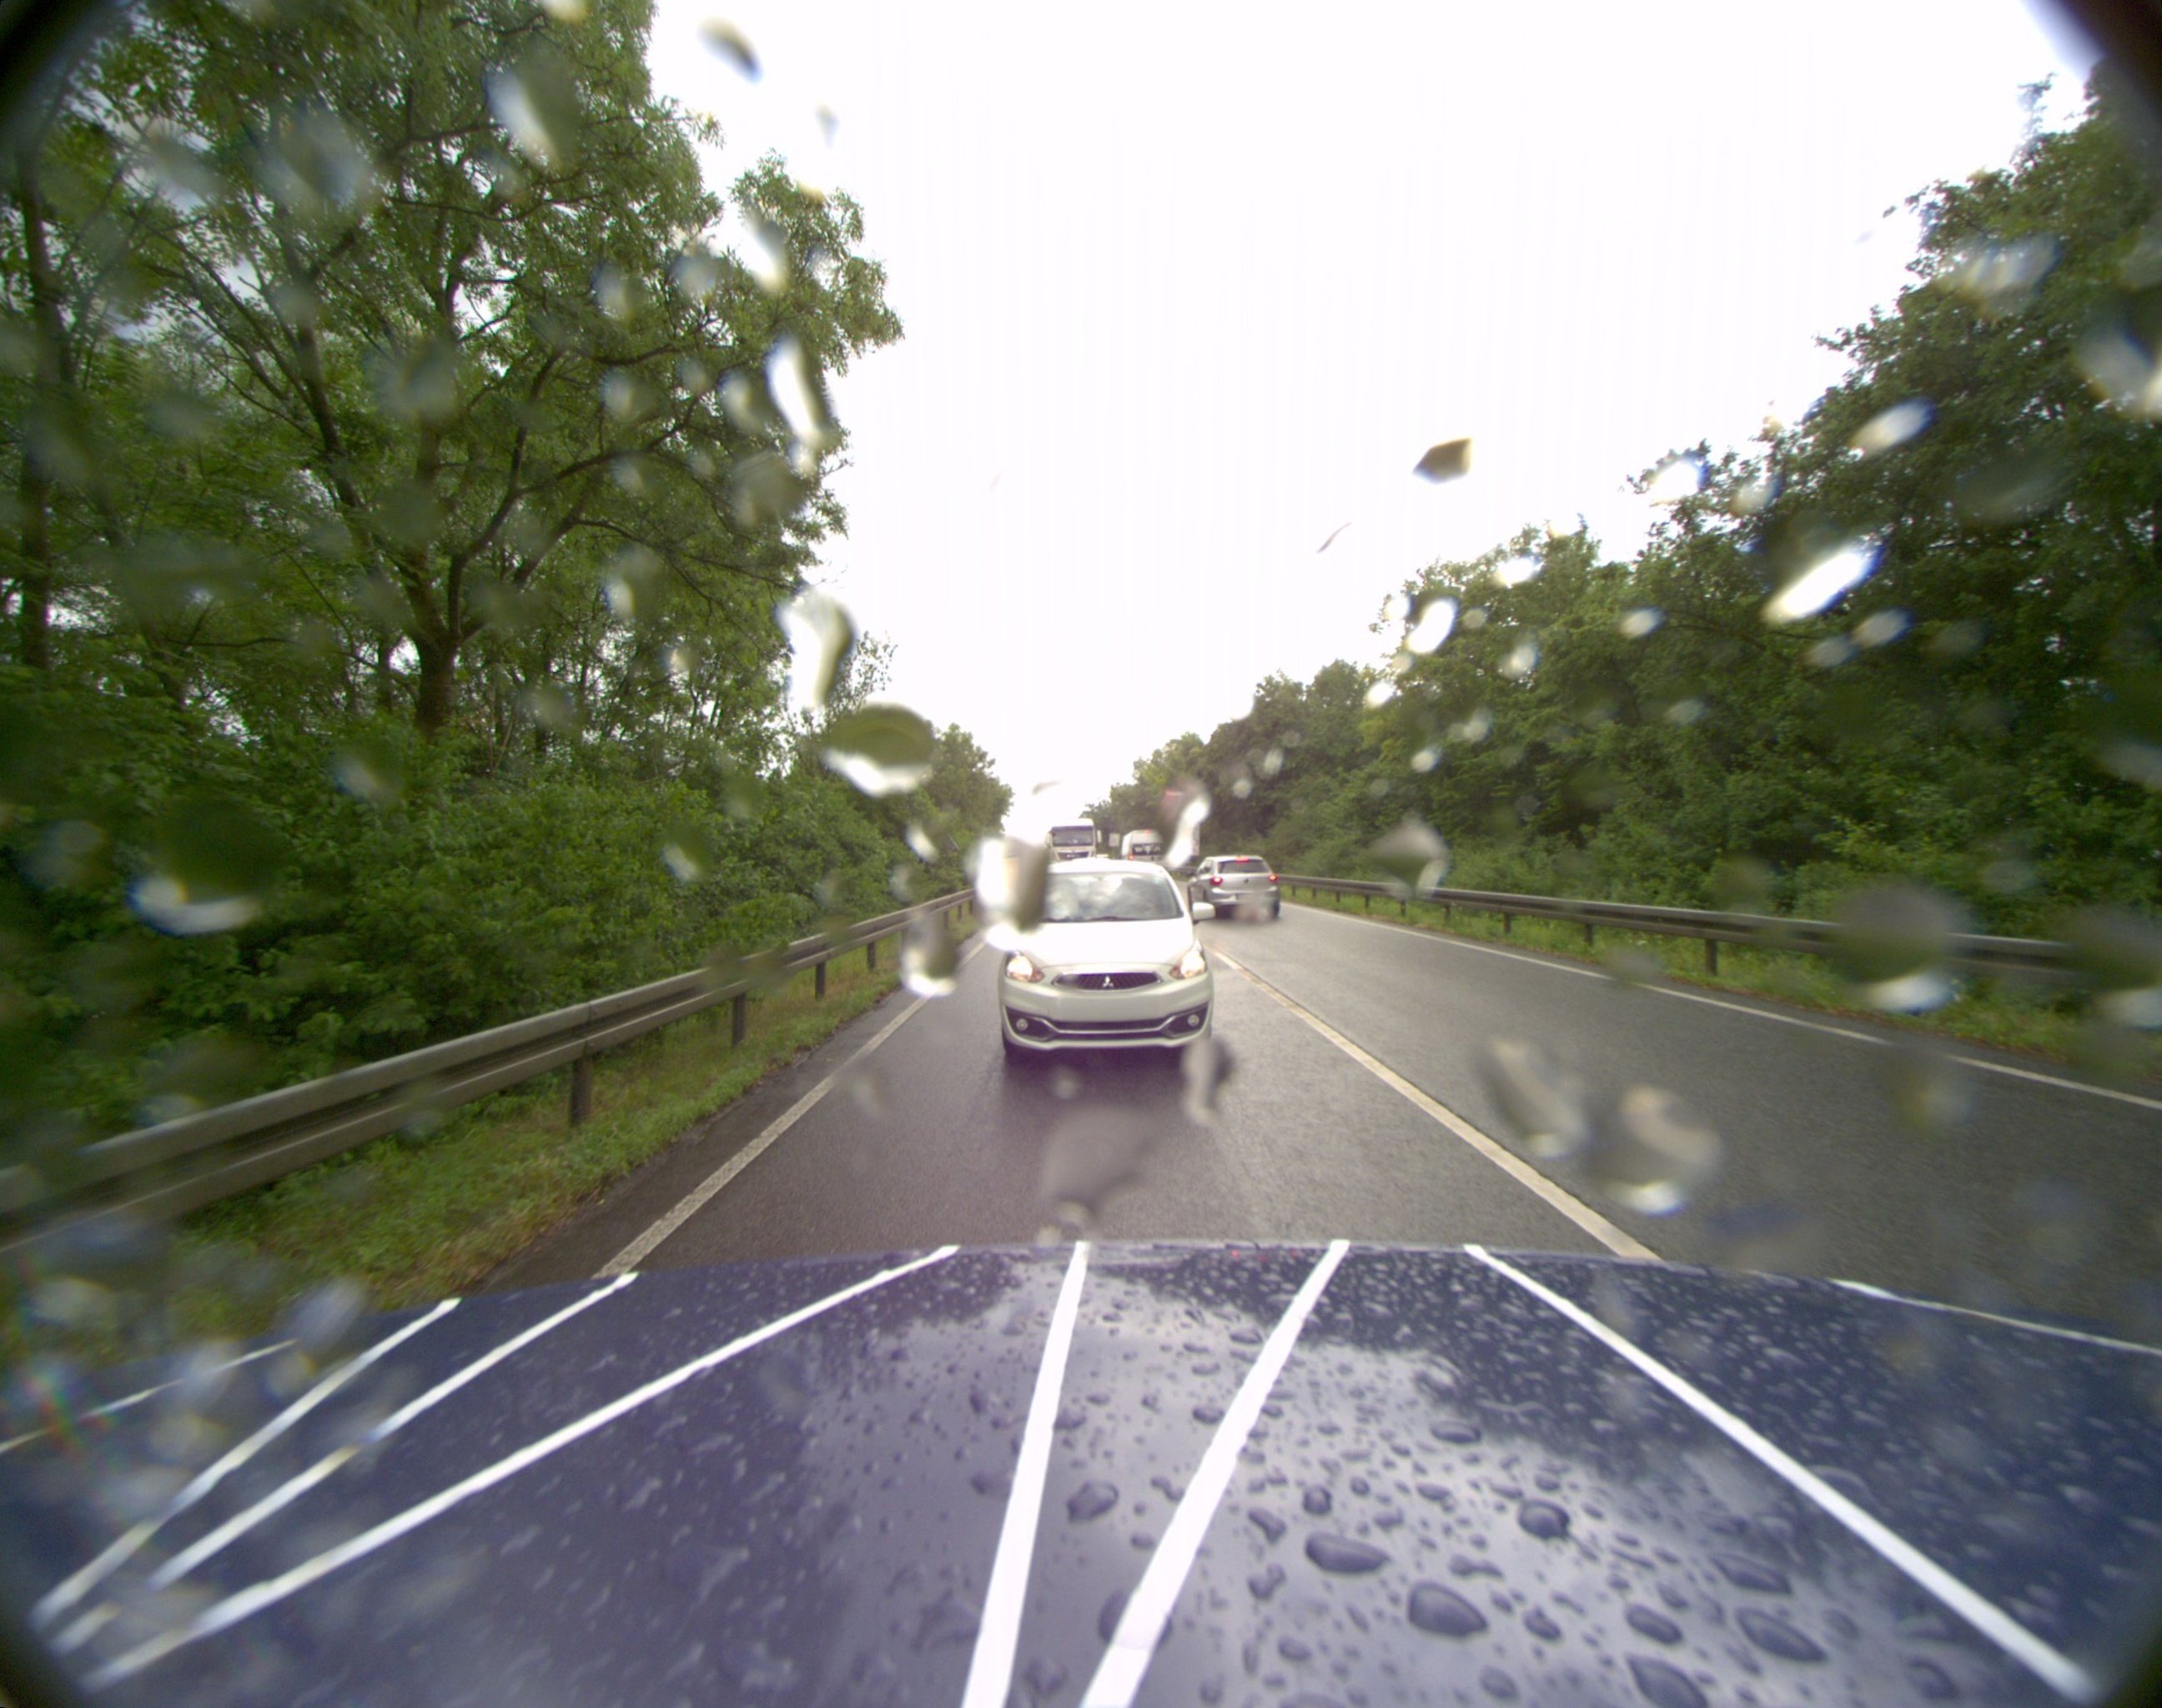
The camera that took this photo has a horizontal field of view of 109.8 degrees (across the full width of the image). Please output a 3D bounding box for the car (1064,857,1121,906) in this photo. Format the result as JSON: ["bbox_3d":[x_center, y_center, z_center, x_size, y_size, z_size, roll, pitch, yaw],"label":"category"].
[{"bbox_3d":[0.299,0.826,24.908,1.640,1.413,4.491,-2,0,-1],"label":"car"}]

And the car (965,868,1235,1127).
[{"bbox_3d":[0.117,0.921,6.780,1.610,1.435,4.208,-2,0,0],"label":"car"}]

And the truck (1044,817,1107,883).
[{"bbox_3d":[-0.434,-0.259,44.421,3.137,3.364,9.280,-2,1,-2],"label":"truck"}]

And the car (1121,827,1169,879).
[{"bbox_3d":[3.541,-0.088,43.060,2.053,2.661,6.170,-2,1,-1],"label":"car"}]

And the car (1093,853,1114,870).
[{"bbox_3d":[2.145,0.691,73.393,1.696,1.547,4.441,-2,1,-1],"label":"car"}]

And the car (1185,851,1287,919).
[{"bbox_3d":[3.742,0.691,19.005,1.732,1.423,3.849,-2,1,0],"label":"car"}]
